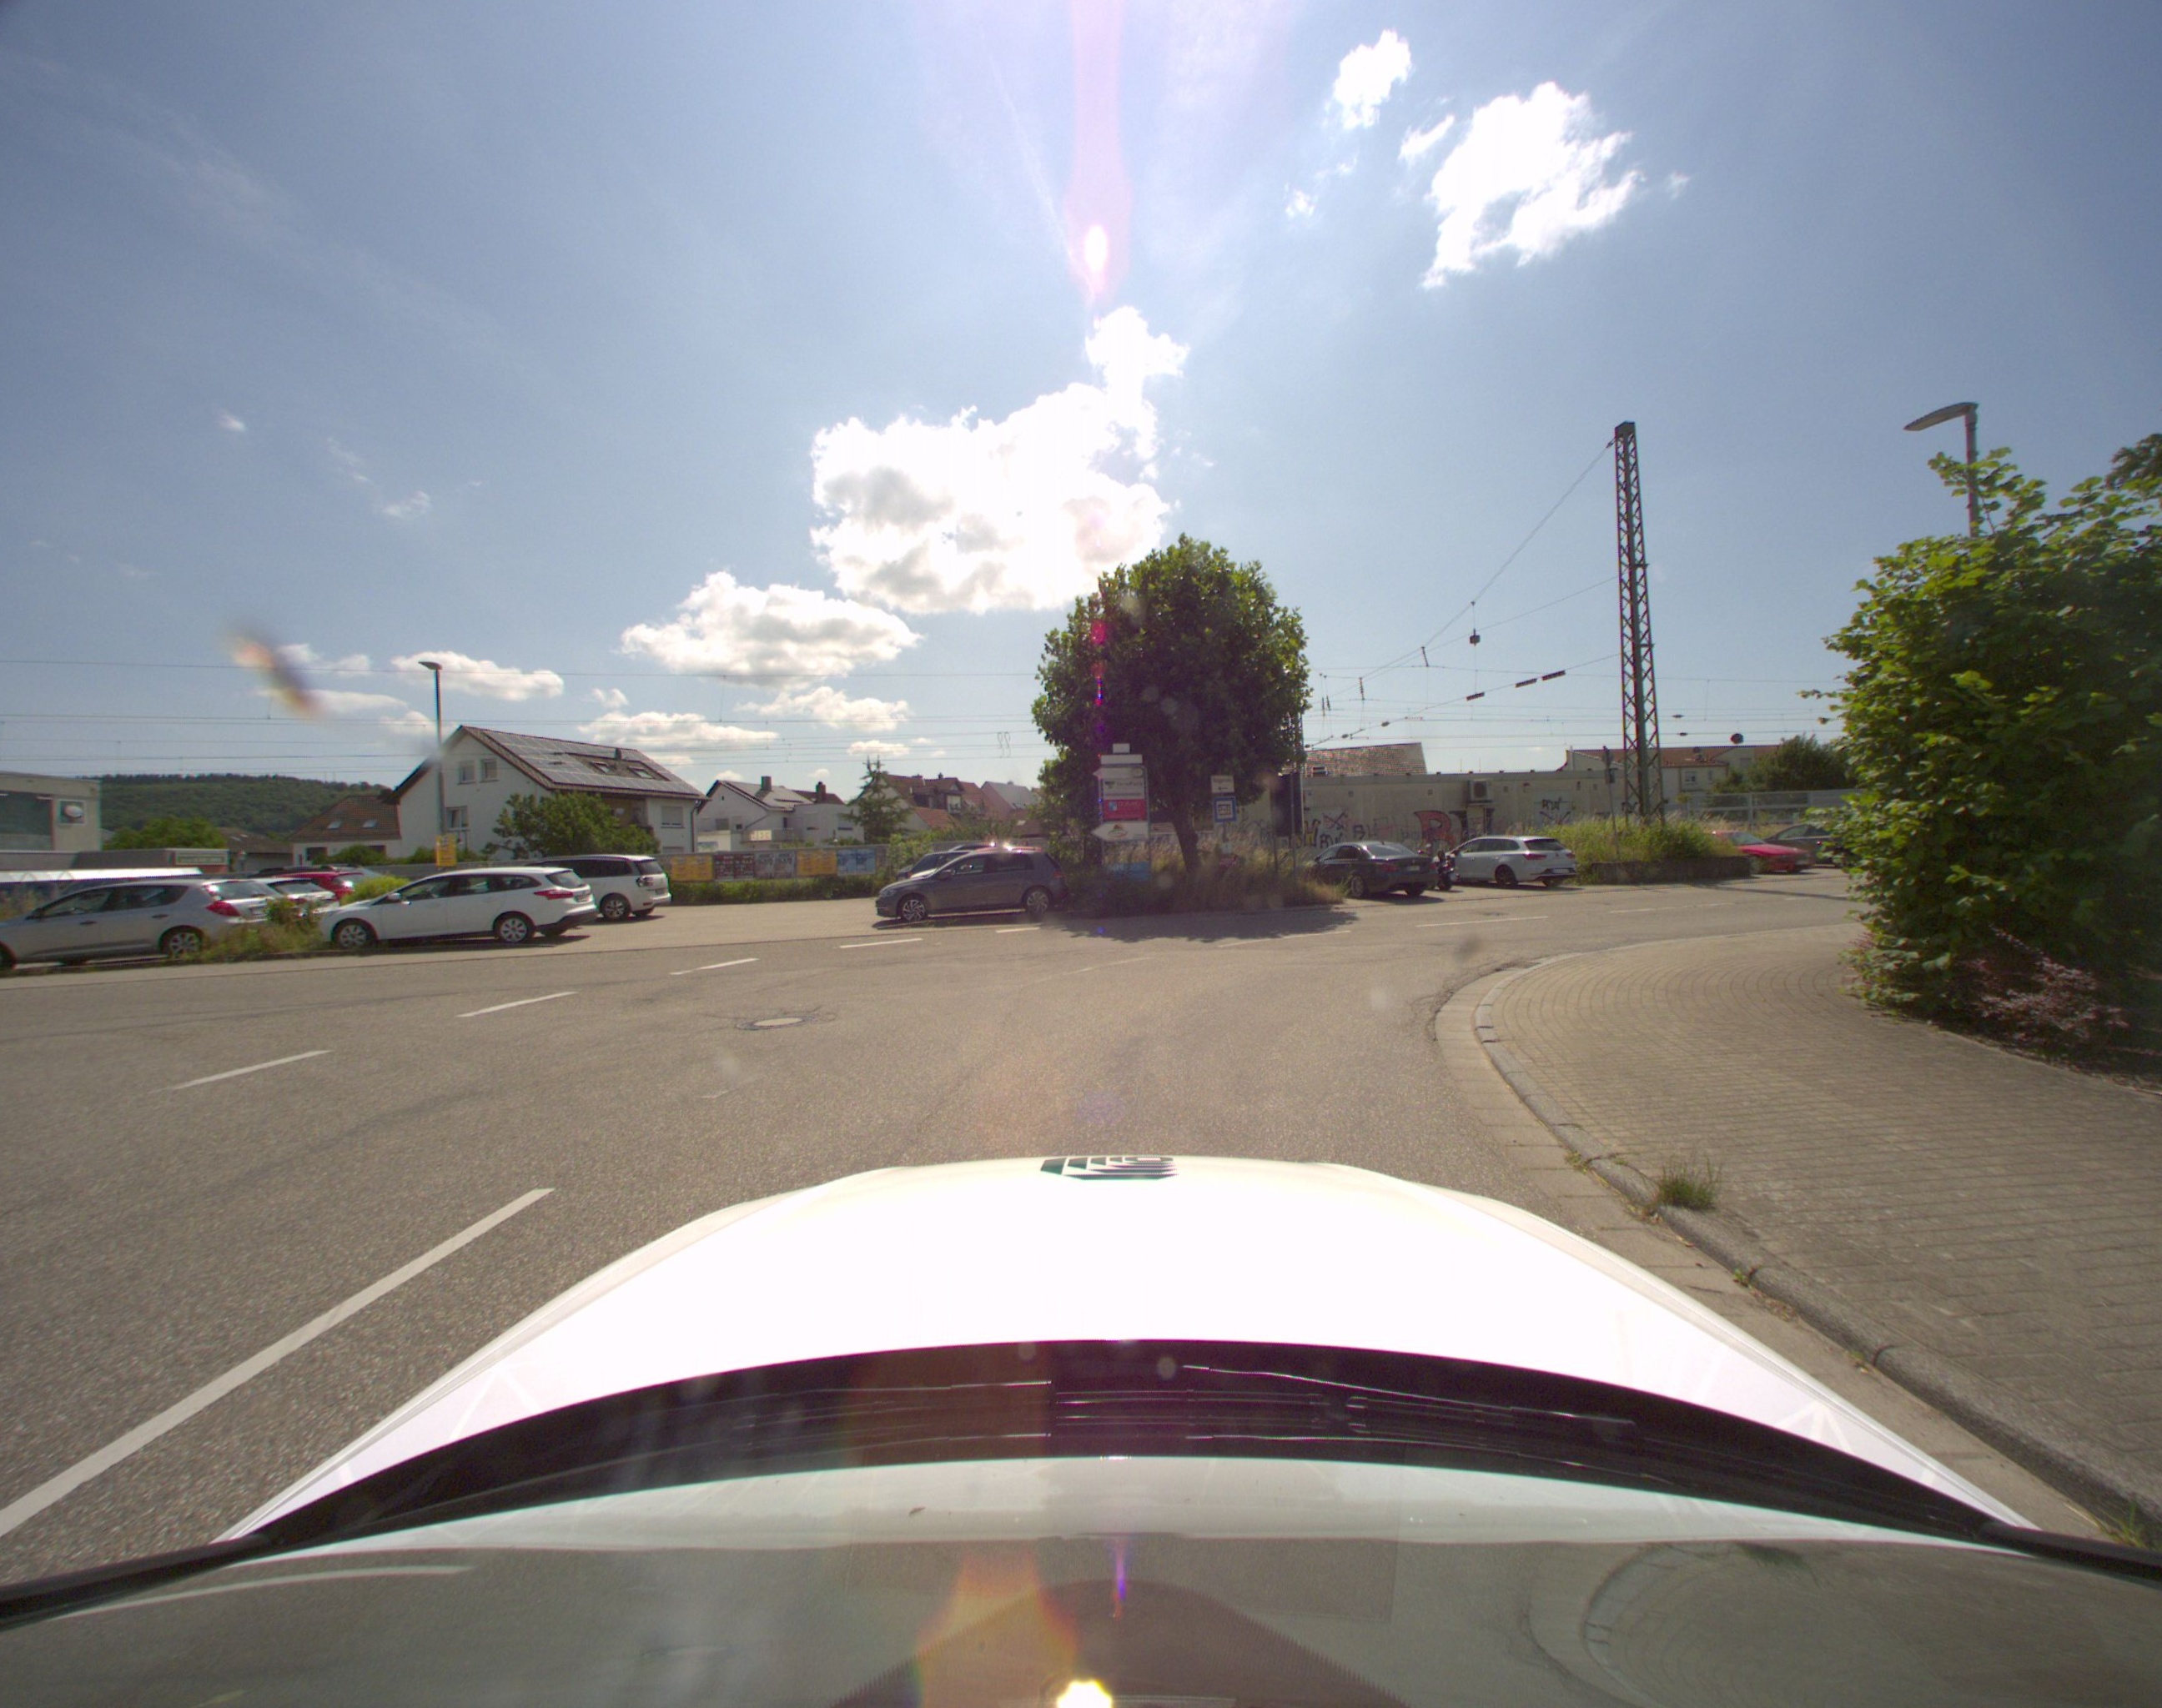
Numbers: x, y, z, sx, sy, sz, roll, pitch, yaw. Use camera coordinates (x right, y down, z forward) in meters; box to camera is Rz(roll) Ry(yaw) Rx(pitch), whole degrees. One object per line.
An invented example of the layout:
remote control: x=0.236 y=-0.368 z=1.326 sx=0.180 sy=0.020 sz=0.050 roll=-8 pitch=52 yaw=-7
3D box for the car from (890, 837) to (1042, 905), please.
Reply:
car: x=-3.211 y=0.440 z=22.965 sx=3.986 sy=1.657 sz=1.994 roll=-2 pitch=0 yaw=-9

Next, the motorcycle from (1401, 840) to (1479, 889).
motorcycle: x=9.781 y=0.256 z=22.298 sx=0.899 sy=1.228 sz=1.986 roll=-2 pitch=2 yaw=-15

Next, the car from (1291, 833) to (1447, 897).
car: x=7.353 y=0.206 z=21.226 sx=1.757 sy=1.386 sz=3.975 roll=-1 pitch=3 yaw=-19

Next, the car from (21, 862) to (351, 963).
car: x=-18.500 y=1.142 z=17.121 sx=4.169 sy=1.638 sz=1.945 roll=-4 pitch=0 yaw=-16

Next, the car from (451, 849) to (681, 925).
car: x=-12.958 y=0.782 z=20.781 sx=4.449 sy=1.690 sz=1.995 roll=-2 pitch=1 yaw=-8

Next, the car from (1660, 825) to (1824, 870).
car: x=20.384 y=-0.157 z=25.323 sx=1.495 sy=1.279 sz=3.824 roll=1 pitch=-1 yaw=-15

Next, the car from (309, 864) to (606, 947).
car: x=-12.126 y=0.954 z=16.158 sx=4.284 sy=1.477 sz=1.820 roll=0 pitch=-1 yaw=-11

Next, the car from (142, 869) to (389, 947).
car: x=-19.362 y=1.235 z=19.523 sx=3.786 sy=1.558 sz=1.687 roll=-2 pitch=0 yaw=-13

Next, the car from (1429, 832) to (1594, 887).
car: x=11.905 y=0.100 z=22.840 sx=1.707 sy=1.377 sz=4.090 roll=-1 pitch=1 yaw=-18

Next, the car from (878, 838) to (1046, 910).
car: x=-2.974 y=0.483 z=20.615 sx=3.985 sy=1.586 sz=1.775 roll=-2 pitch=-1 yaw=-9

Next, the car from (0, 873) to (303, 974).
car: x=-17.514 y=1.226 z=15.106 sx=4.010 sy=1.562 sz=1.812 roll=-2 pitch=0 yaw=-17

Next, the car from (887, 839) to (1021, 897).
car: x=-3.938 y=0.430 z=25.499 sx=3.985 sy=1.730 sz=1.765 roll=0 pitch=-1 yaw=-9

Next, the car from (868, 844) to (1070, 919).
car: x=-2.435 y=0.570 z=18.037 sx=4.185 sy=1.463 sz=1.660 roll=-1 pitch=-1 yaw=-8

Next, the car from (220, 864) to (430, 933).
car: x=-20.276 y=1.146 z=22.008 sx=3.837 sy=1.589 sz=1.490 roll=-2 pitch=0 yaw=-15

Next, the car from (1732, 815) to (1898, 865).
car: x=23.773 y=-0.392 z=26.559 sx=1.495 sy=1.471 sz=3.824 roll=1 pitch=-1 yaw=-15
